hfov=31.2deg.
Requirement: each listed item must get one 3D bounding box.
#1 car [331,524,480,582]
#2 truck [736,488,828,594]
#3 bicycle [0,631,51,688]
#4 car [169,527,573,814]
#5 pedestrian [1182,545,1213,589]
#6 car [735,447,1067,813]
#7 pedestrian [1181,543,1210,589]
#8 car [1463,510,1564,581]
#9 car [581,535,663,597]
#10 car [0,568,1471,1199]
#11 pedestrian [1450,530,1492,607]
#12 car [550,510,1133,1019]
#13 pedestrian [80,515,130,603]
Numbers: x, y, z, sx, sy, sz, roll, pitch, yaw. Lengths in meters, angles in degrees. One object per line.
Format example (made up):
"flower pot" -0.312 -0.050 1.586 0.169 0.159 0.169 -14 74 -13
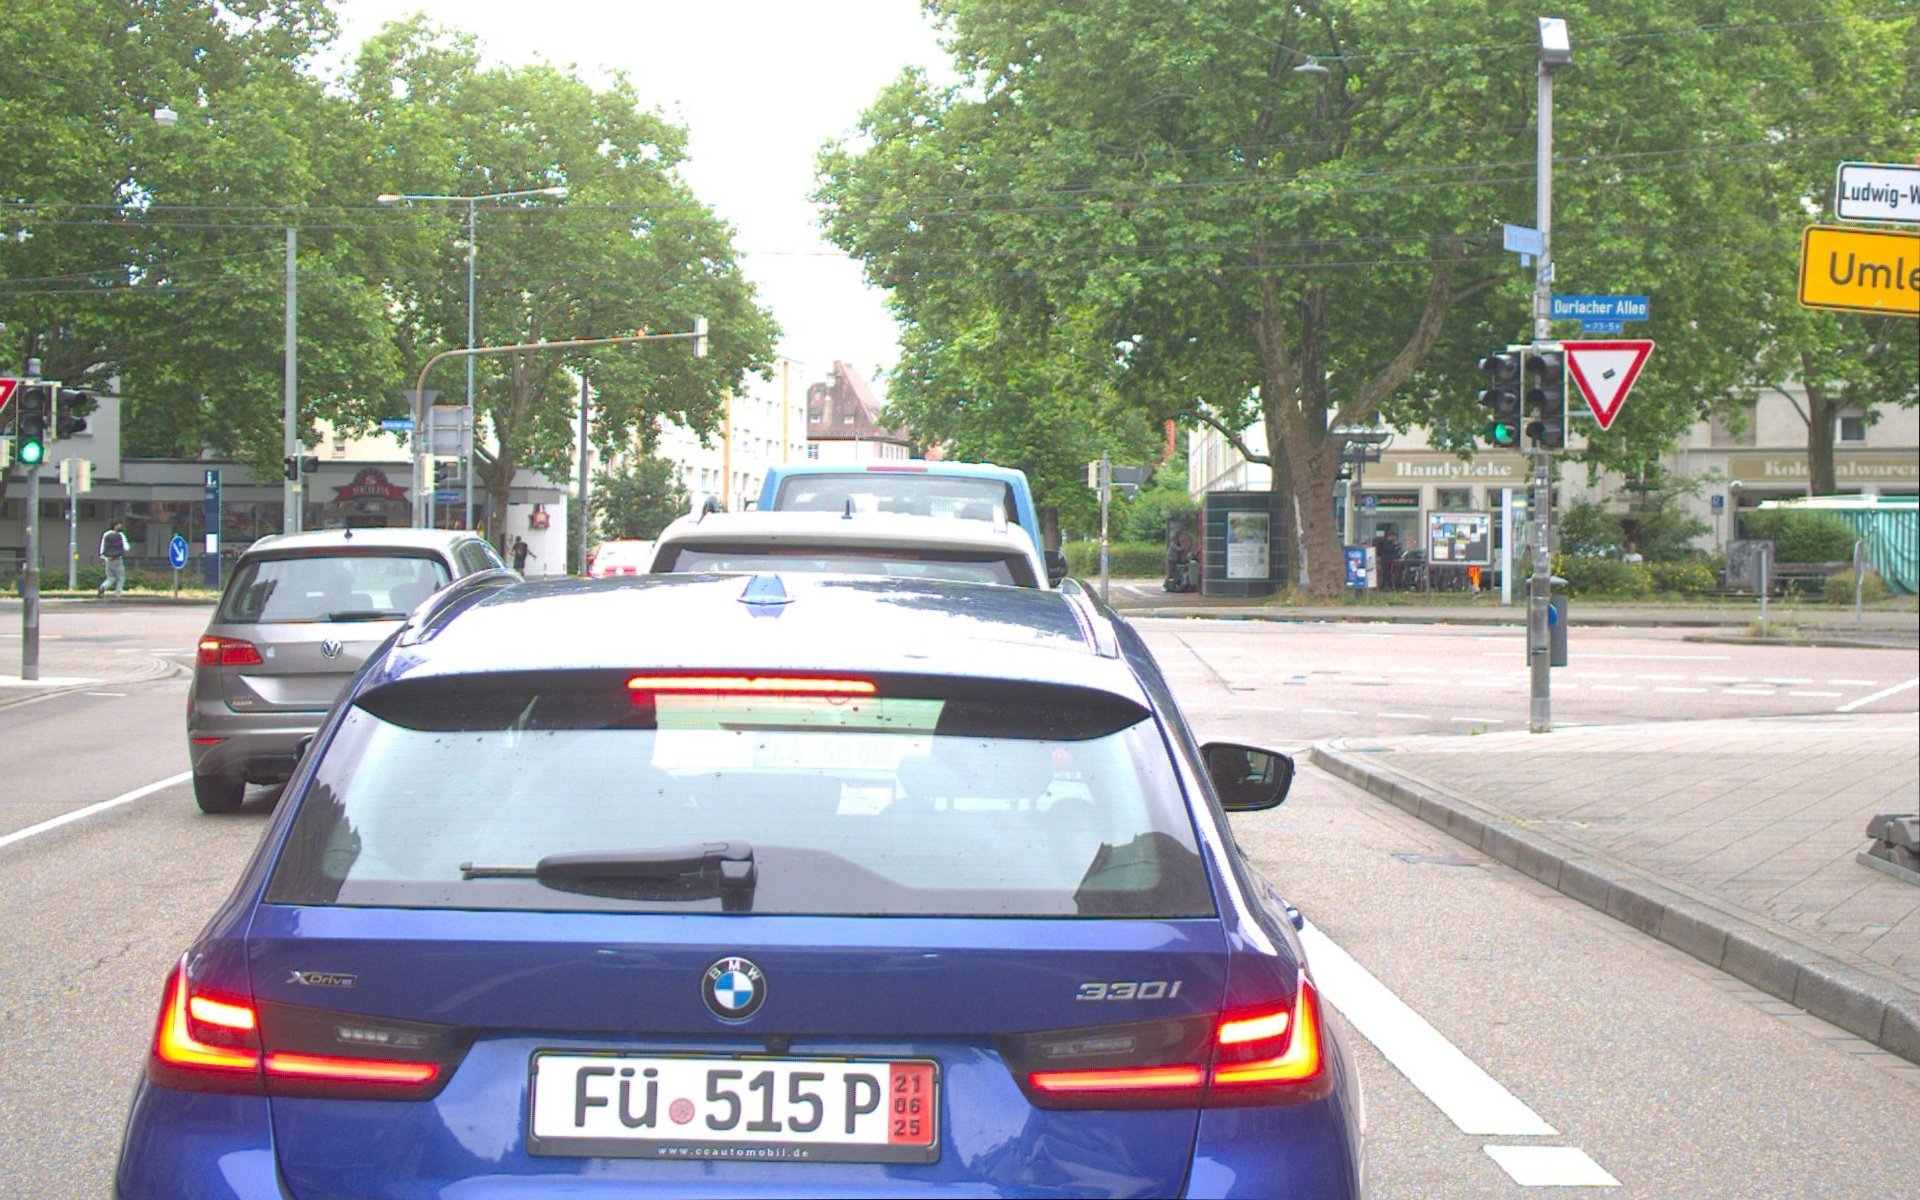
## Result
"car" -16.869 -1.421 104.557 3.987 1.700 2.000 0 1 -34
"truck" -4.172 -1.414 80.919 2.074 2.400 5.463 0 1 -2
"bicycle" -9.918 0.506 33.405 1.886 0.443 1.029 6 2 -2
"car" -3.349 0.333 20.237 1.732 1.519 4.000 0 1 -1
"pedestrian" 7.129 -0.988 103.088 0.853 1.310 0.763 0 1 0
"car" -0.346 0.122 20.846 1.815 1.998 4.000 0 1 -1
"pedestrian" 7.135 -1.036 104.024 0.817 1.367 0.763 0 1 0
"car" 17.312 -1.702 107.400 2.177 2.193 3.995 1 1 24
"car" -8.074 -0.830 82.311 1.649 1.442 3.511 0 1 -1
"car" -0.312 0.670 6.351 1.815 1.400 4.320 0 1 -1
"pedestrian" 11.733 -0.725 78.940 0.784 1.737 0.925 0 1 -2
"car" -0.393 0.471 12.727 1.815 1.586 4.000 0 1 -1
"pedestrian" -17.395 -0.835 69.952 0.676 1.765 0.724 1 1 41
